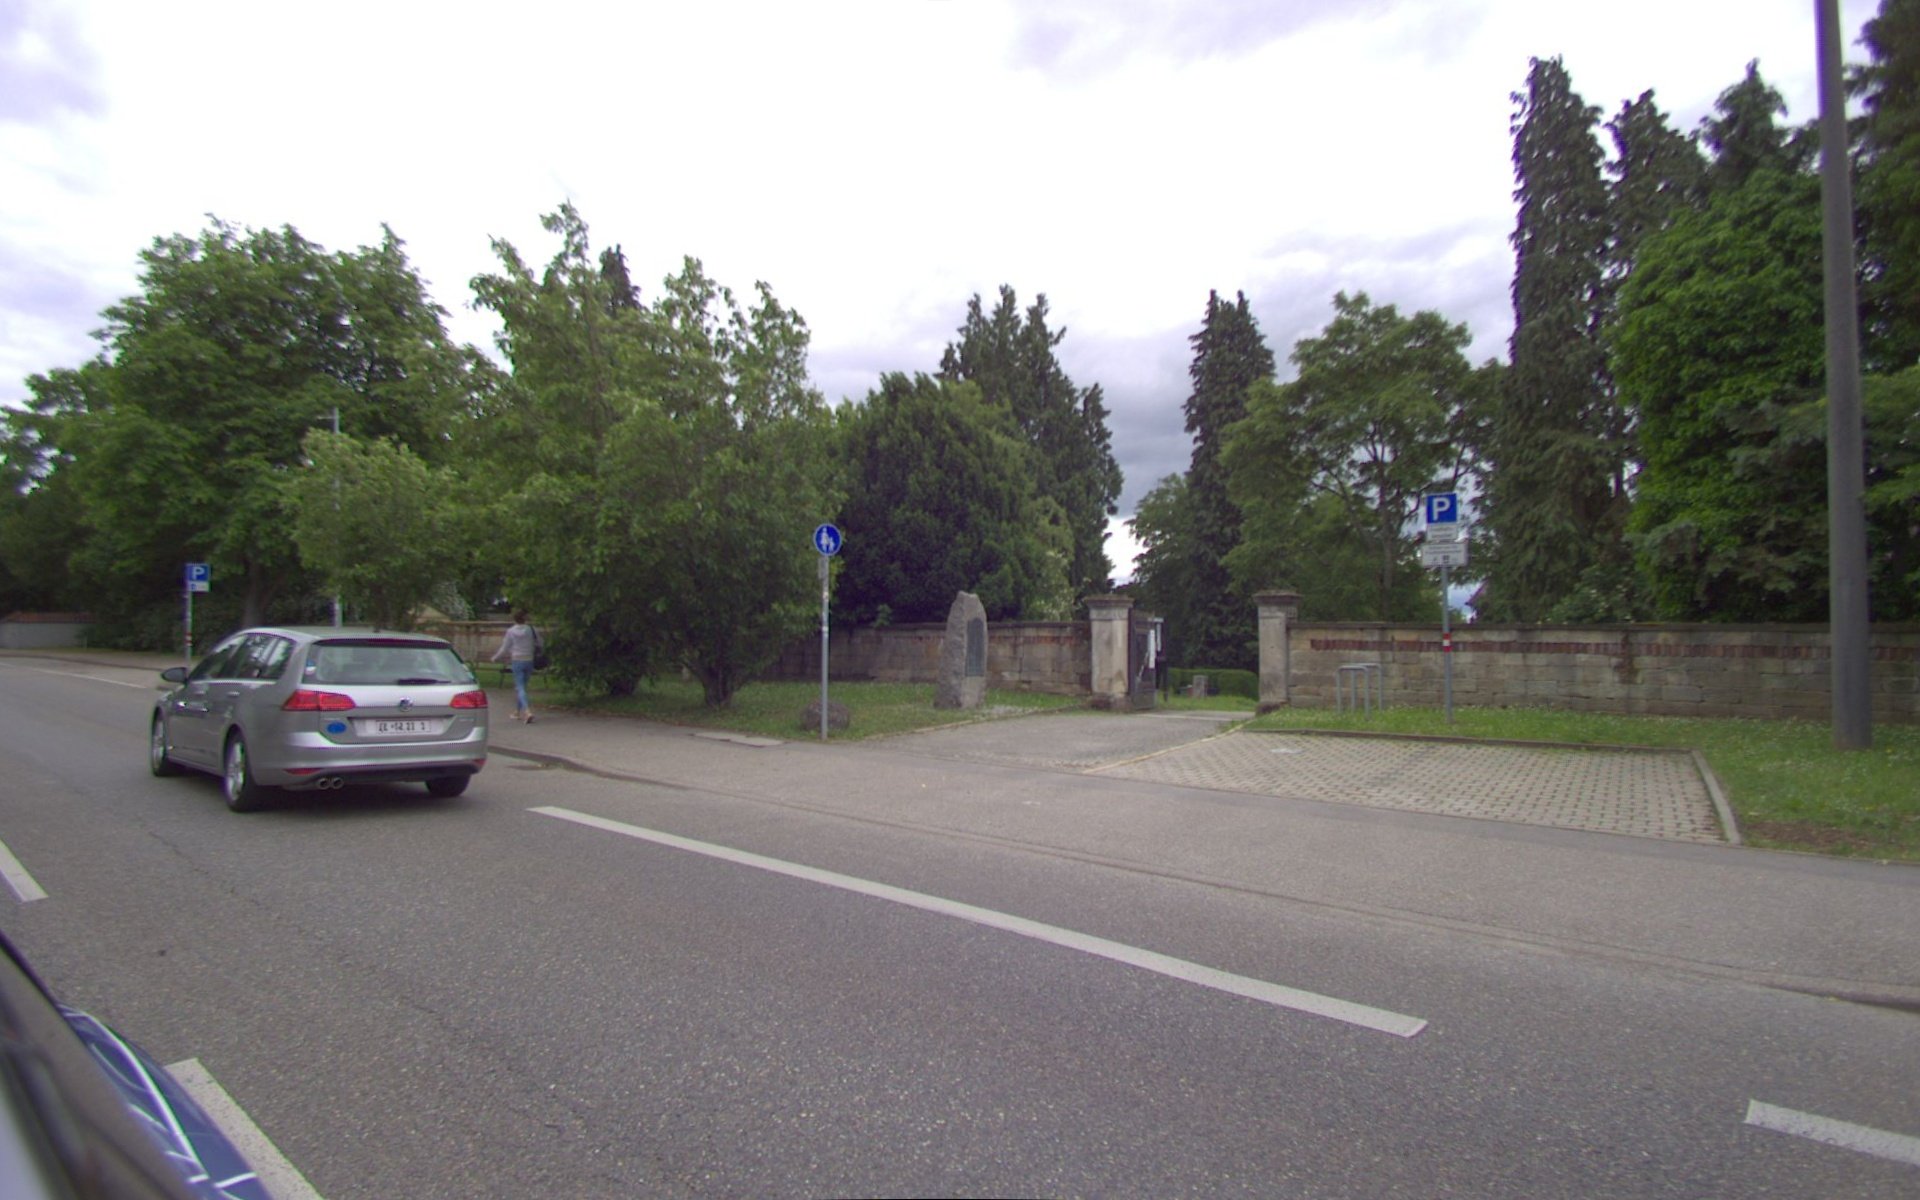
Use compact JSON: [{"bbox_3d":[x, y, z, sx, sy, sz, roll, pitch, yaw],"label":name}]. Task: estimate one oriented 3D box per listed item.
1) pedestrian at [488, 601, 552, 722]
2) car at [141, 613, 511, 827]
[{"bbox_3d":[-6.839,0.931,15.721,0.784,1.825,0.607,-1,0,40],"label":"pedestrian"},{"bbox_3d":[-5.792,0.888,9.028,4.153,1.474,1.707,-1,-3,42],"label":"car"}]
